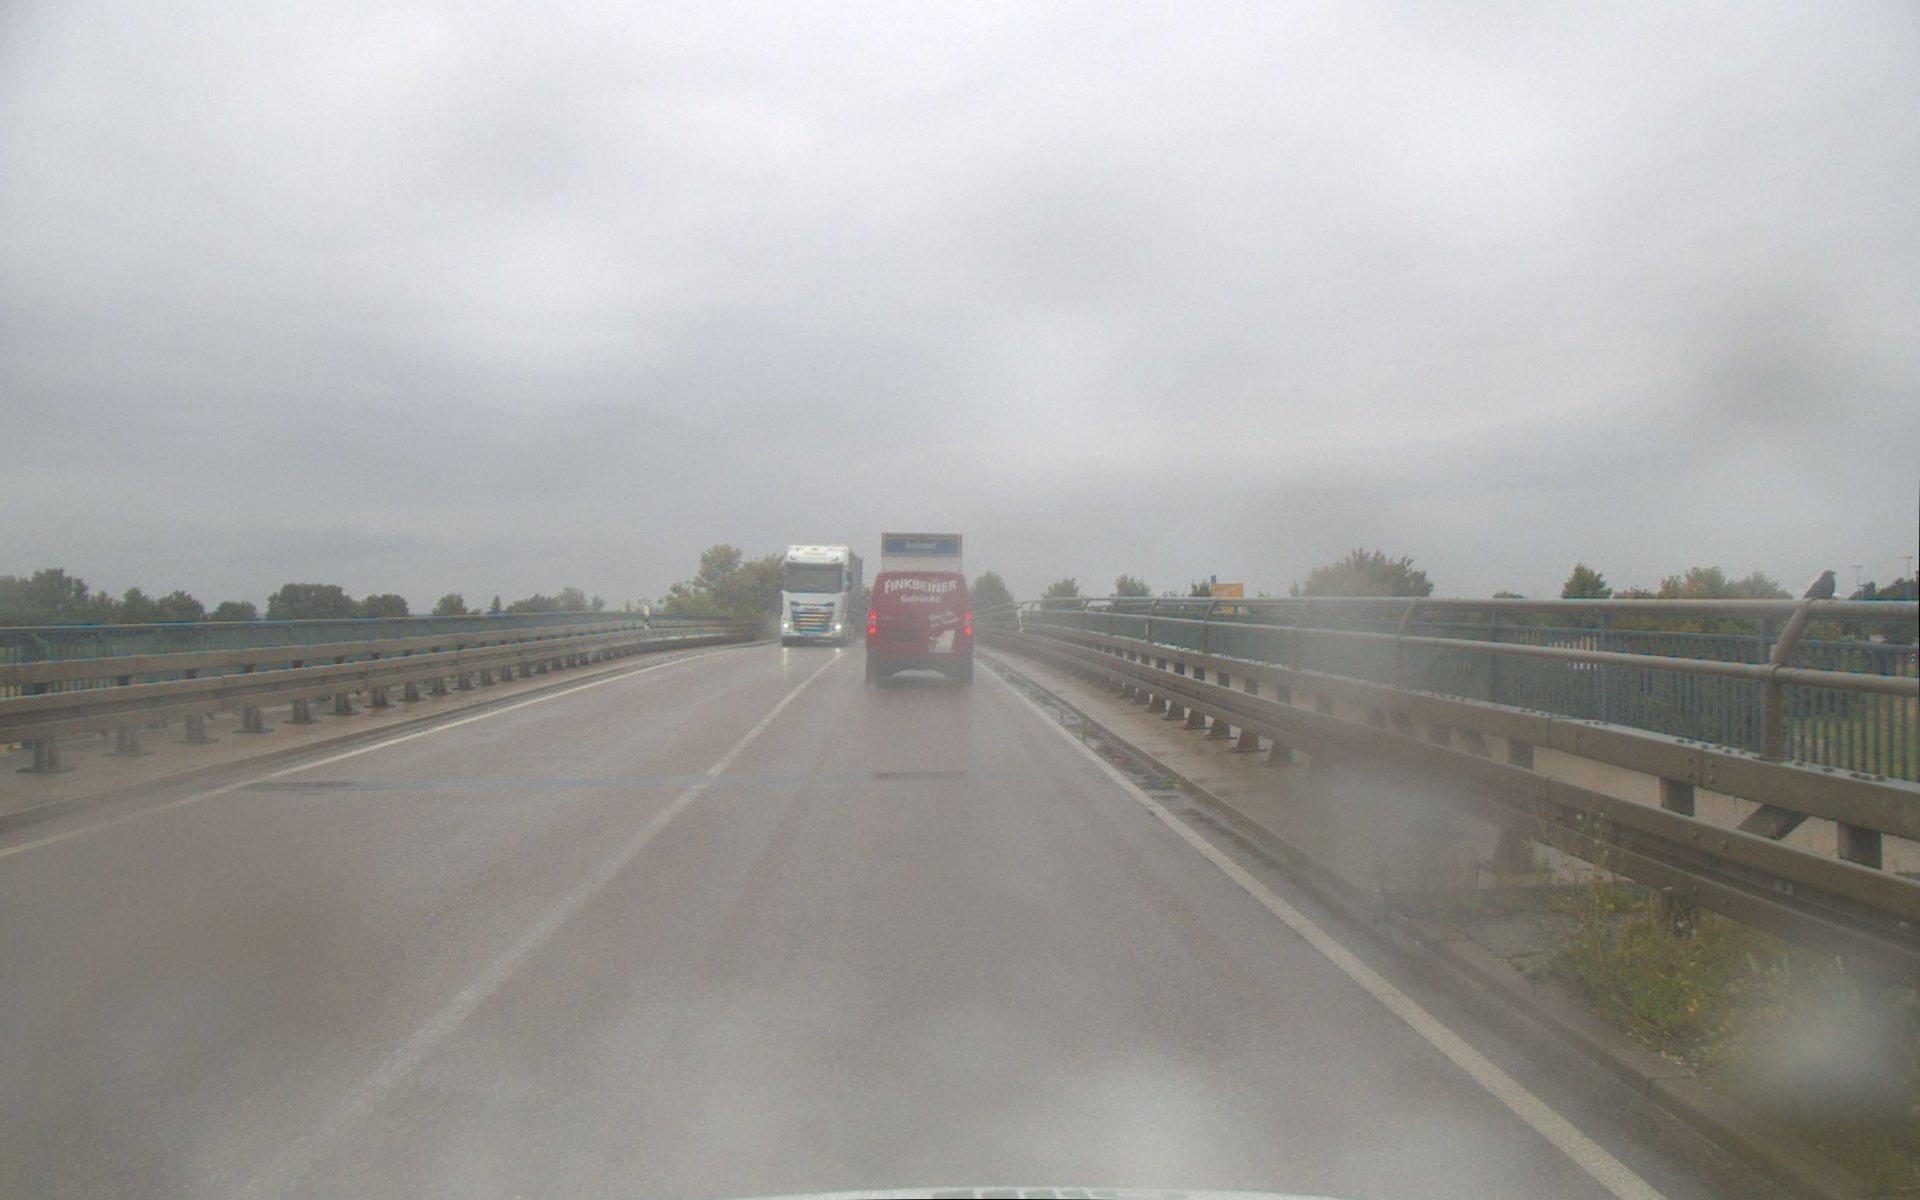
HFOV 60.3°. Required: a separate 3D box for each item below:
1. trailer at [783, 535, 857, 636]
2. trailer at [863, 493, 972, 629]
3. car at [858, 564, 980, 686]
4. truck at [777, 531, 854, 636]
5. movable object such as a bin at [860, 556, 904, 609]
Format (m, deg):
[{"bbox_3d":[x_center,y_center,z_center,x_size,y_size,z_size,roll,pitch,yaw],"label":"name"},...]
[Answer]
[{"bbox_3d":[-6.069,-0.577,73.594,2.761,4.040,13.728,0,0,-3],"label":"trailer"},{"bbox_3d":[-1.314,-1.145,54.806,3.136,3.990,8.738,3,-1,0],"label":"trailer"},{"bbox_3d":[-0.761,0.387,28.988,1.954,1.959,4.141,1,1,-3],"label":"car"},{"bbox_3d":[-5.817,-0.623,67.627,2.761,4.040,8.759,0,0,-3],"label":"truck"},{"bbox_3d":[-5.285,-1.146,112.349,2.692,3.506,4.643,0,0,0],"label":"movable object such as a bin"}]
